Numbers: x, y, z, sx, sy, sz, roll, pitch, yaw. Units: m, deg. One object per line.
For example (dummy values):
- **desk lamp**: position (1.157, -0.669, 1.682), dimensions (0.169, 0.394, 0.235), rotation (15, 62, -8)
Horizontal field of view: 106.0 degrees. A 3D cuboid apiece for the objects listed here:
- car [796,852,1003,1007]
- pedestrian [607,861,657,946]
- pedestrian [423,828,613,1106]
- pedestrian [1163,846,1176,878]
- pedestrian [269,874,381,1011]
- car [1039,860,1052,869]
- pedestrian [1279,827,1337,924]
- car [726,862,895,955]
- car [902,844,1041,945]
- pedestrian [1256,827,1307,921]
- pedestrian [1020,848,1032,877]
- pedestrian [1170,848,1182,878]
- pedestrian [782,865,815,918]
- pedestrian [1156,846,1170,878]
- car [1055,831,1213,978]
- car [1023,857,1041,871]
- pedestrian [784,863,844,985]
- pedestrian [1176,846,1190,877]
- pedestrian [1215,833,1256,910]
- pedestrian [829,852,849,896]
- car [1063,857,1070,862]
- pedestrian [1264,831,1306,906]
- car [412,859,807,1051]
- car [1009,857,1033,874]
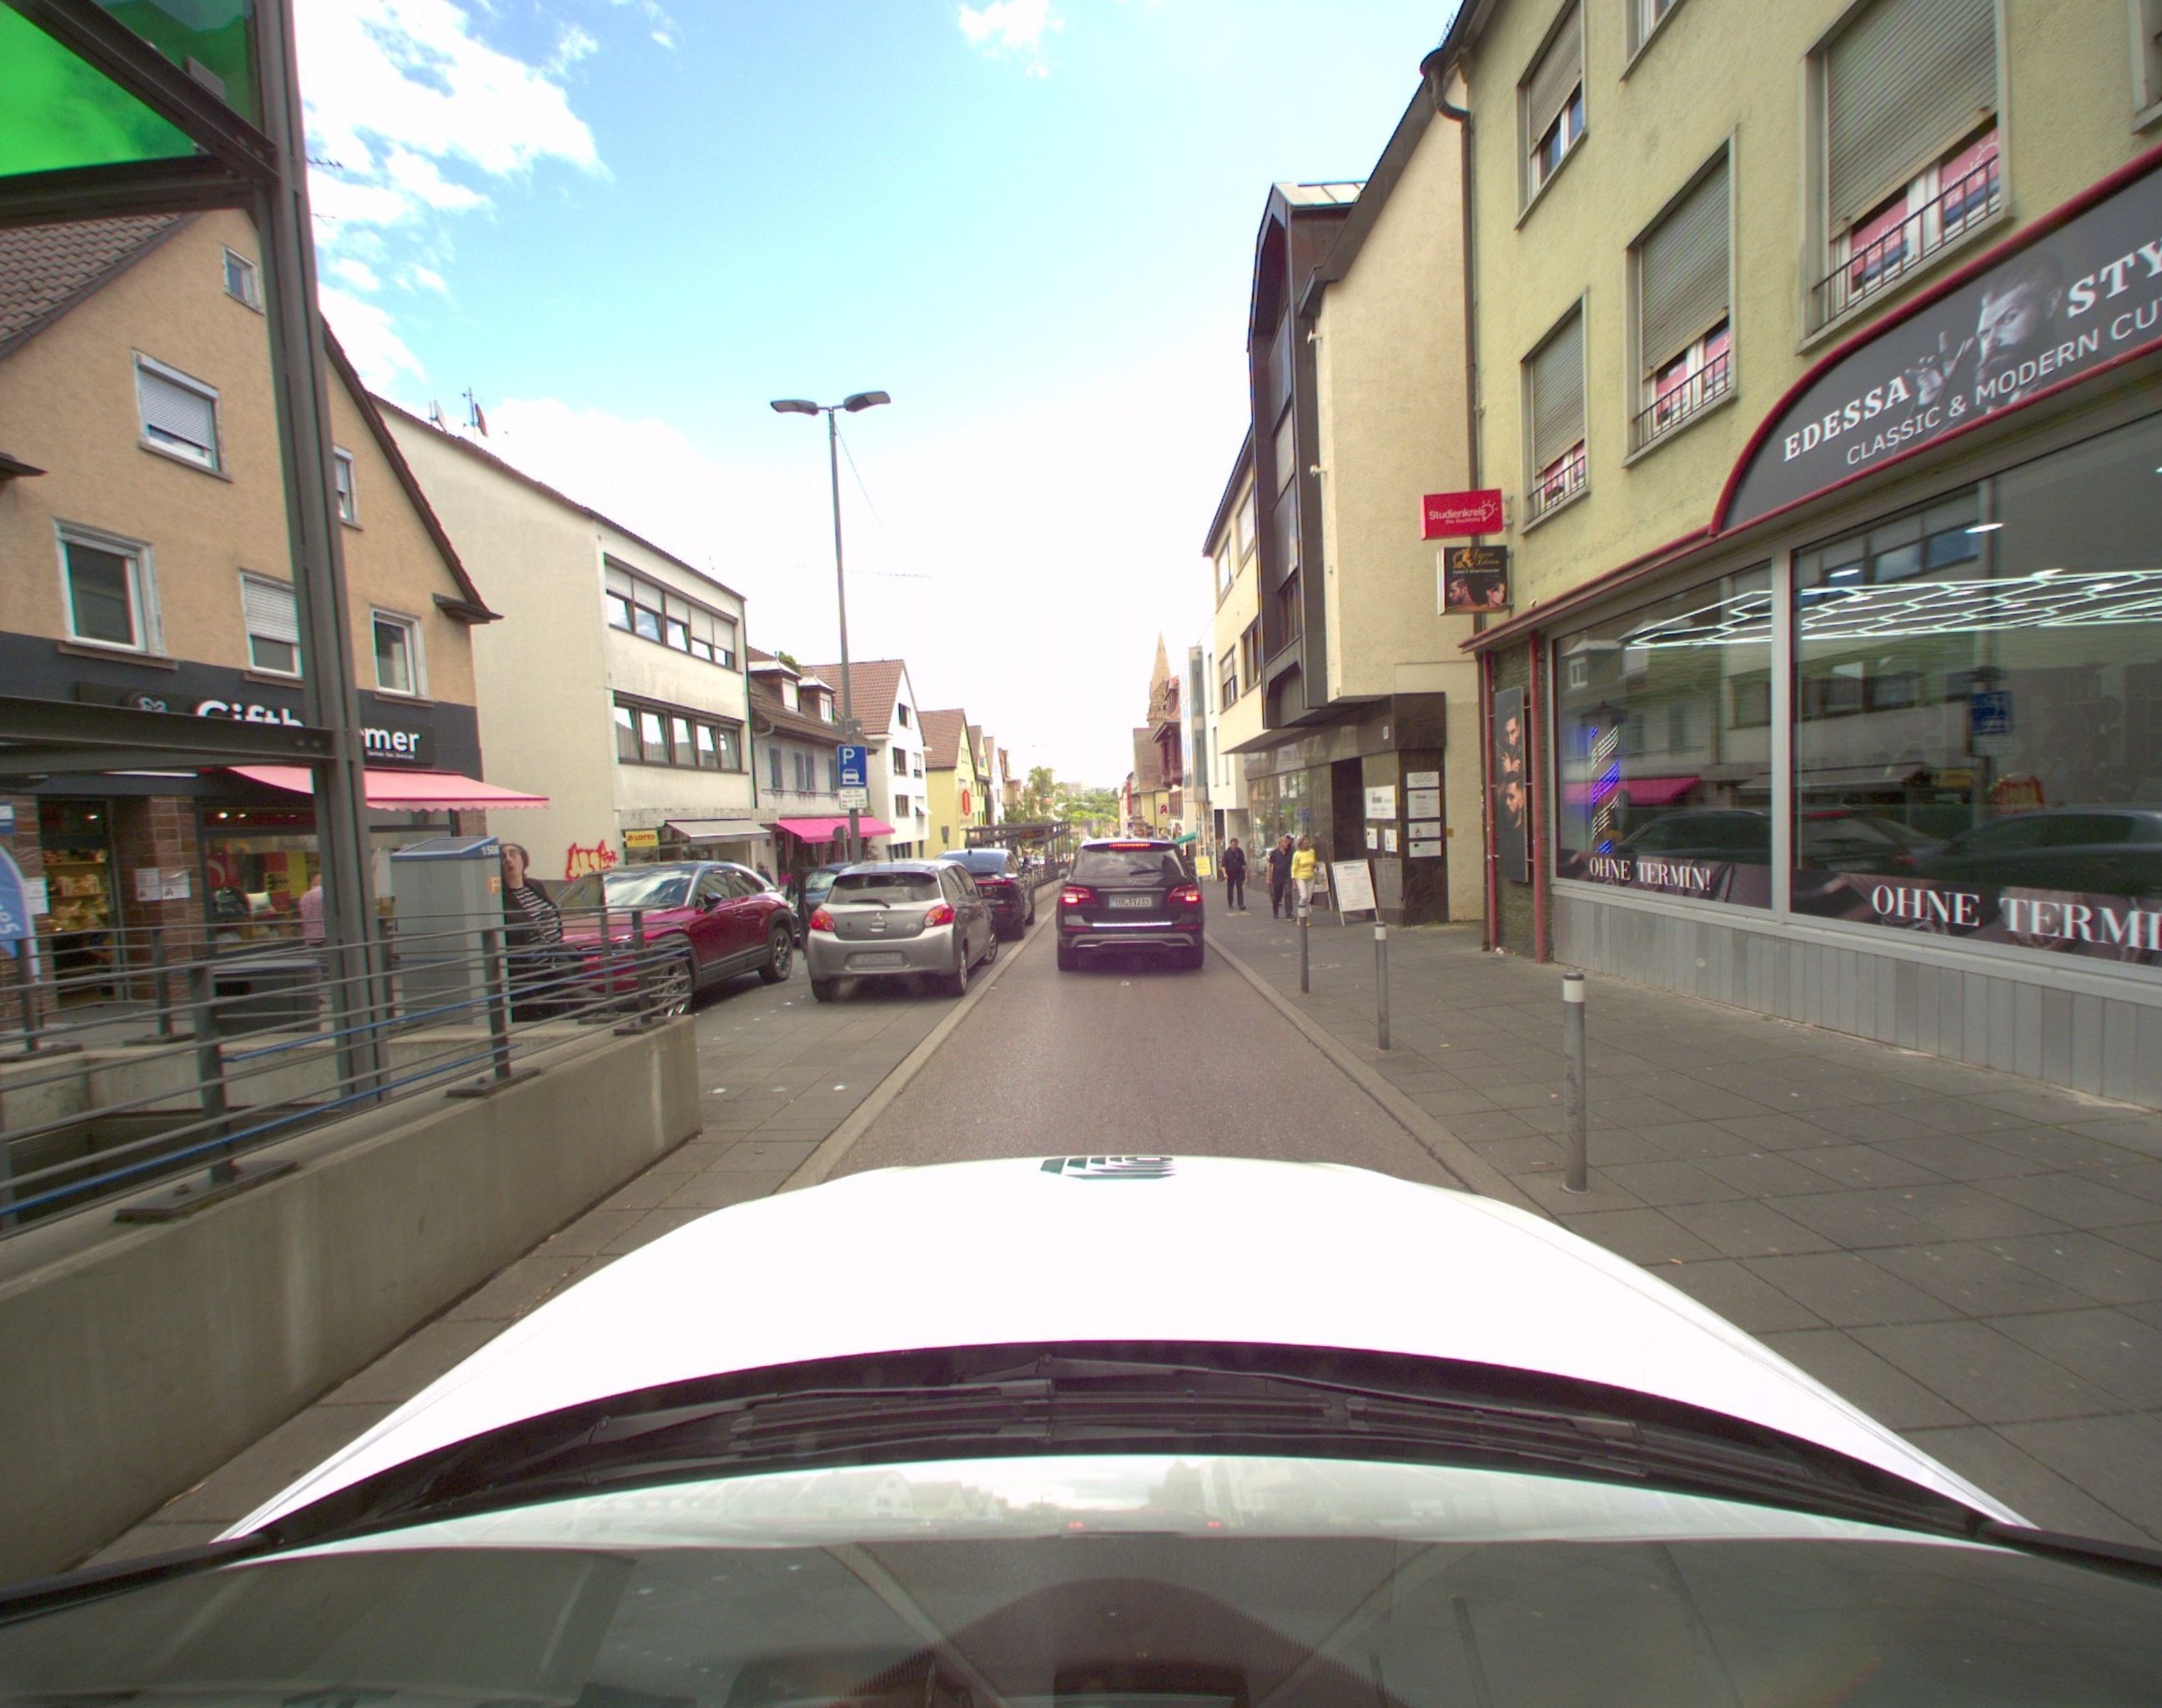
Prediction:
- **car**: position (-1.993, 0.761, 9.999), dimensions (1.614, 1.532, 3.671), rotation (-1, 0, 1)
- **pedestrian**: position (-9.328, 1.003, 16.917), dimensions (0.638, 1.689, 0.670), rotation (-2, 1, 41)
- **pedestrian**: position (-3.665, 0.682, 5.377), dimensions (0.531, 1.672, 0.902), rotation (-2, 0, 4)
- **pedestrian**: position (4.868, 0.441, 44.862), dimensions (0.541, 1.726, 0.527), rotation (-3, 0, -5)
- **pedestrian**: position (-9.853, 1.118, 10.642), dimensions (0.636, 1.689, 0.829), rotation (-2, 0, 6)
- **car**: position (-4.851, 1.441, 111.649), dimensions (1.383, 1.070, 3.114), rotation (-3, 0, 2)
- **pedestrian**: position (4.021, 0.366, 14.494), dimensions (0.708, 1.631, 0.835), rotation (-4, 0, 1)
- **car**: position (-4.866, 0.911, 15.254), dimensions (1.732, 1.475, 3.885), rotation (-1, 0, 2)
- **car**: position (-1.910, 0.679, 15.604), dimensions (1.949, 1.639, 4.316), rotation (-1, 0, 1)
- **pedestrian**: position (3.944, 0.378, 16.047), dimensions (0.708, 1.753, 0.785), rotation (-4, 0, 1)
- **pedestrian**: position (-3.266, 0.509, 48.277), dimensions (0.608, 1.689, 0.564), rotation (-1, 0, 9)
- **pedestrian**: position (5.515, 0.508, 47.131), dimensions (0.572, 1.689, 0.565), rotation (-1, 0, -5)
- **pedestrian**: position (-8.621, 1.127, 24.897), dimensions (0.662, 1.539, 0.946), rotation (-2, 0, -1)
- **pedestrian**: position (4.316, 0.417, 42.741), dimensions (0.620, 1.689, 0.565), rotation (-1, 0, -5)
- **car**: position (0.642, 0.611, 11.825), dimensions (1.894, 1.747, 3.999), rotation (-1, 0, 0)
- **car**: position (-5.357, 1.117, 89.089), dimensions (1.654, 1.490, 3.749), rotation (-1, 0, 2)
- **pedestrian**: position (-3.274, 0.844, 10.025), dimensions (0.464, 1.431, 0.492), rotation (-4, 0, 1)
- **pedestrian**: position (5.775, 0.435, 46.213), dimensions (0.572, 1.689, 0.565), rotation (-4, 0, -5)
- **pedestrian**: position (3.677, 0.414, 19.425), dimensions (0.708, 1.753, 0.787), rotation (-4, 0, 1)
- **pedestrian**: position (-9.382, 0.762, 31.527), dimensions (0.576, 1.689, 0.577), rotation (-1, 0, 1)
- **car**: position (-3.281, 1.325, 185.352), dimensions (1.383, 1.070, 3.114), rotation (-3, 0, 2)
- **pedestrian**: position (4.795, 0.339, 19.186), dimensions (0.662, 1.689, 0.542), rotation (-6, 0, -5)
- **car**: position (-4.609, 0.848, 8.831), dimensions (1.732, 1.543, 4.194), rotation (-1, 0, 1)
- **car**: position (-5.291, 1.002, 71.813), dimensions (1.683, 1.490, 3.981), rotation (-1, 0, 2)
